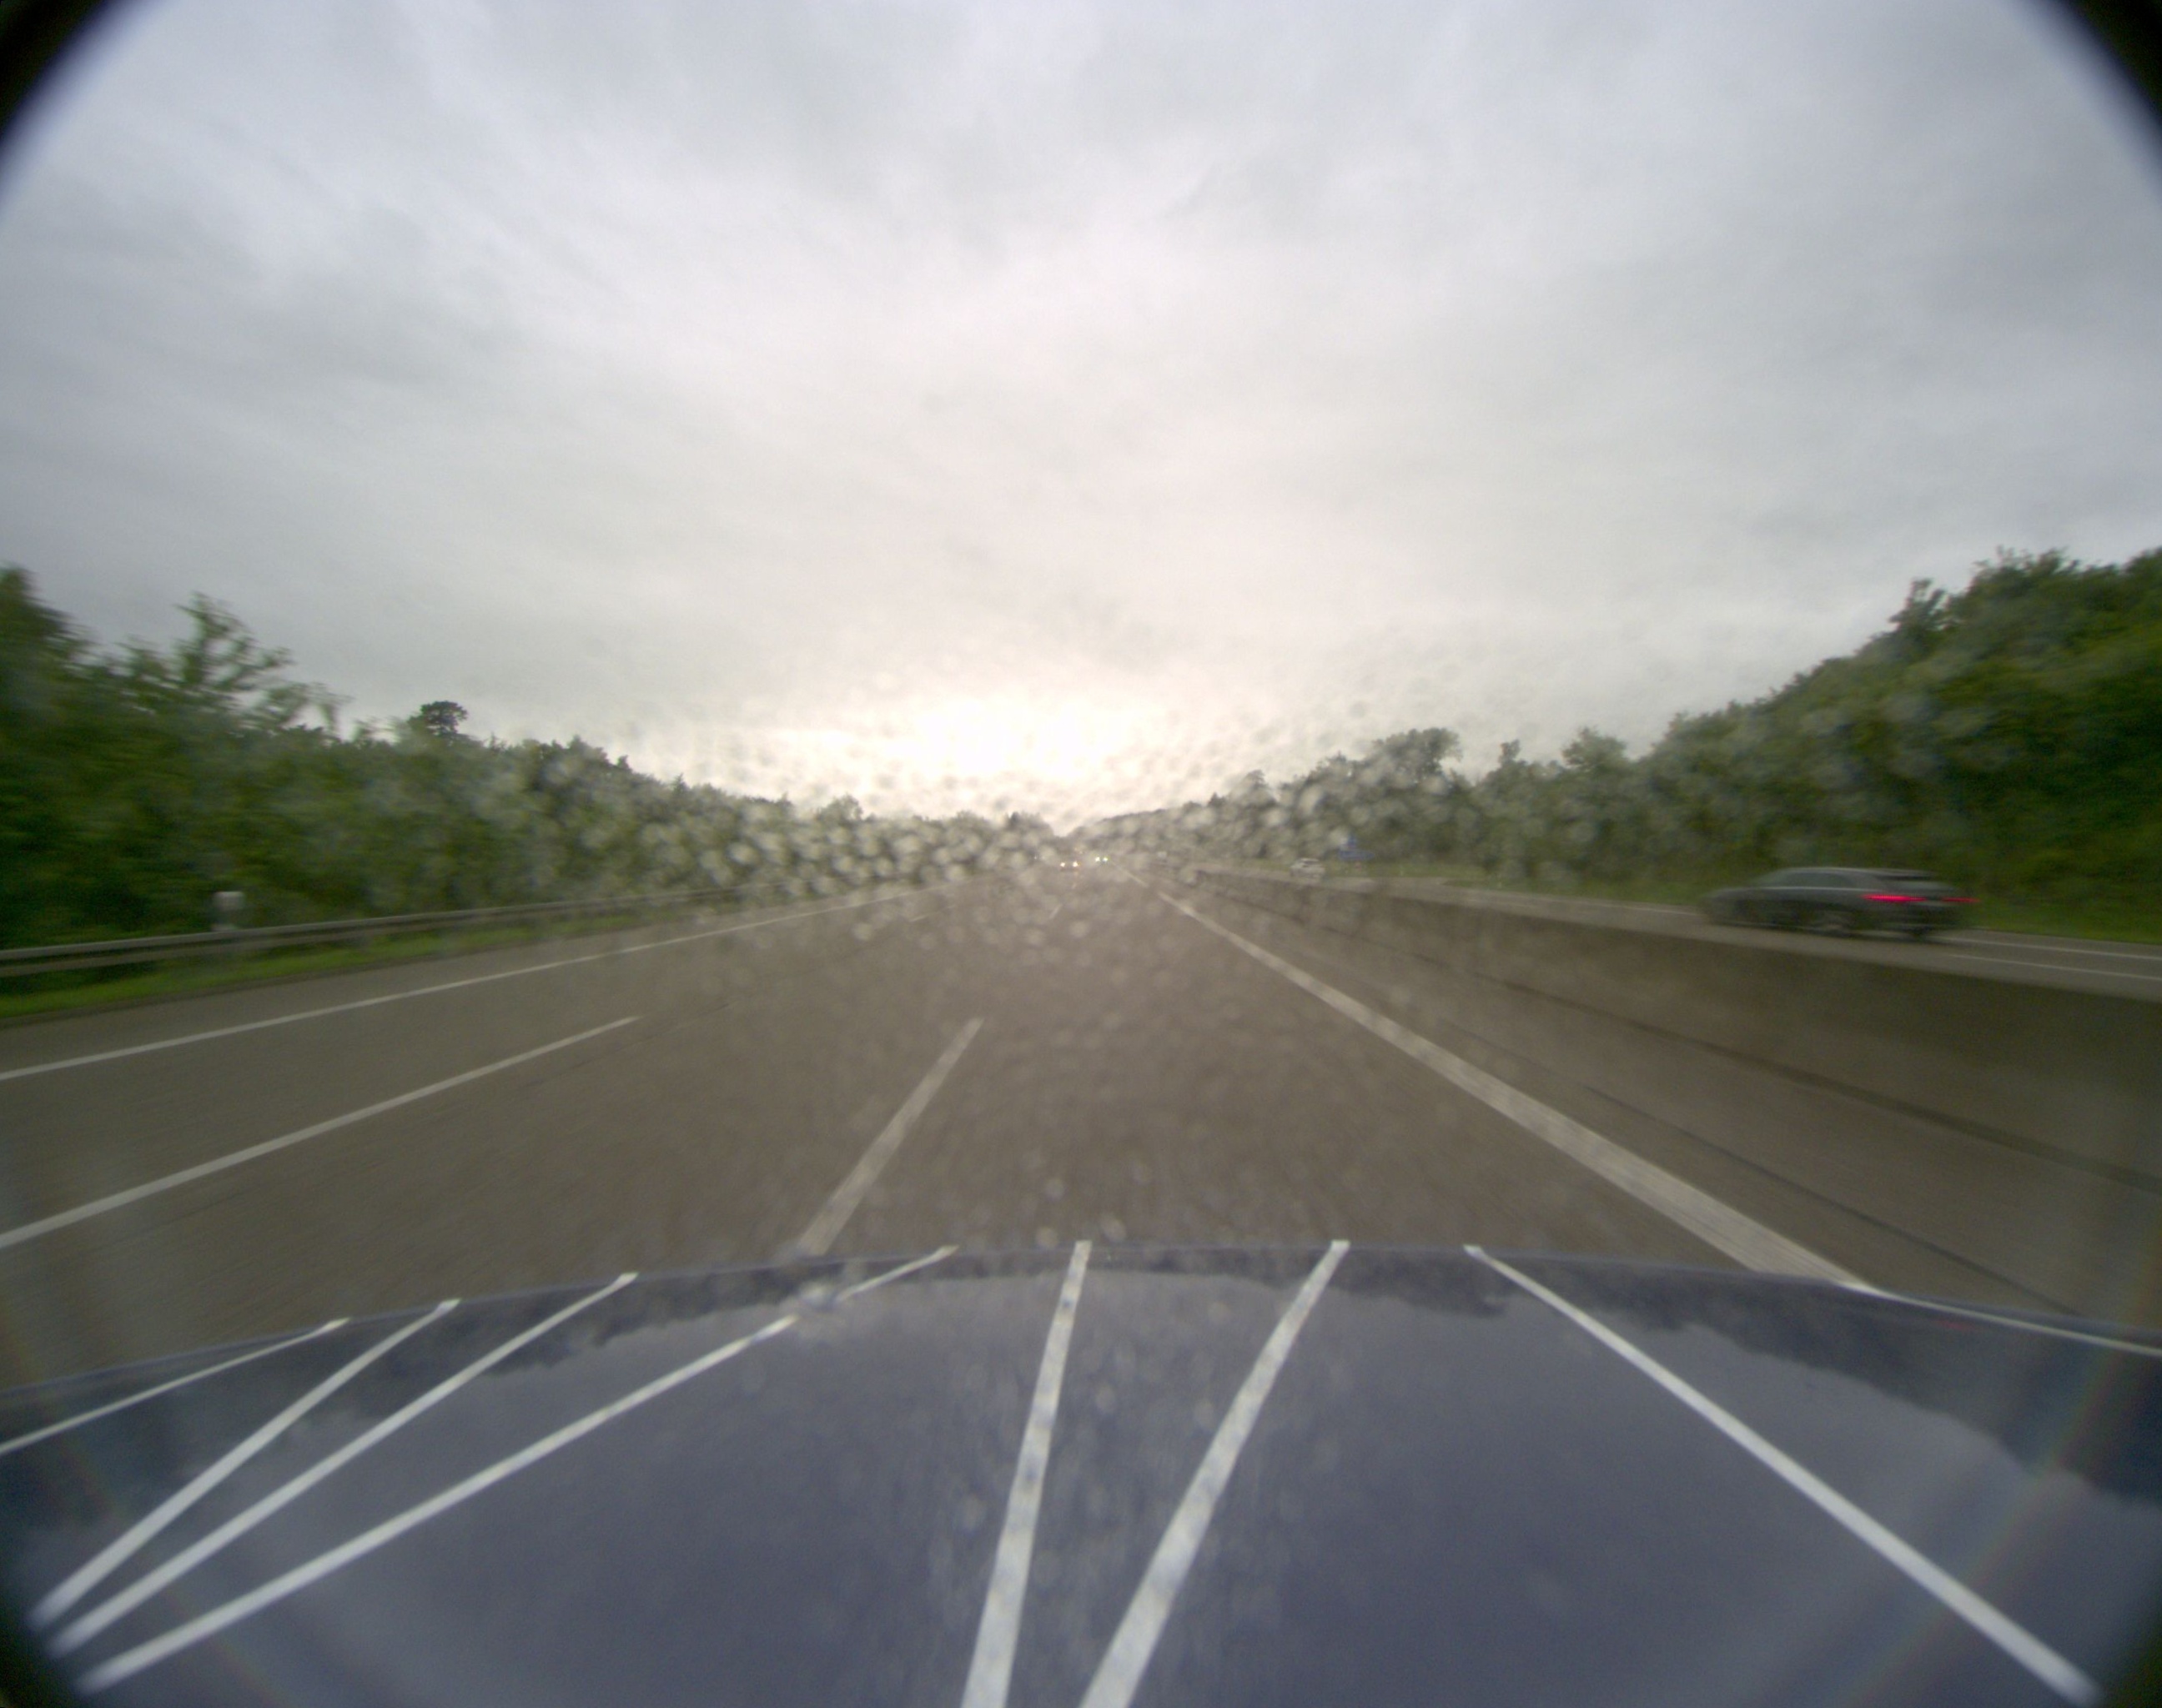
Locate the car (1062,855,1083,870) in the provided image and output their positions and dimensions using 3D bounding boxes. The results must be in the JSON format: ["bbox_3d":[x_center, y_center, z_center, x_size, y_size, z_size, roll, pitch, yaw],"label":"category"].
[{"bbox_3d":[-0.822,0.886,78.200,1.932,1.521,4.298,0,-1,2],"label":"car"}]

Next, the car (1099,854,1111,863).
[{"bbox_3d":[4.322,0.732,134.235,2.009,1.455,4.000,0,1,3],"label":"car"}]

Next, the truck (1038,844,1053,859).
[{"bbox_3d":[-9.916,-0.742,214.195,3.244,3.873,12.024,-1,1,1],"label":"truck"}]

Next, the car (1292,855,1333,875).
[{"bbox_3d":[17.976,0.829,59.298,1.802,1.442,4.629,1,0,0],"label":"car"}]

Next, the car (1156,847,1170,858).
[{"bbox_3d":[16.580,-0.231,153.231,1.999,2.002,5.760,-5,0,0],"label":"car"}]

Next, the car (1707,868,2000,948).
[{"bbox_3d":[16.238,1.053,16.401,1.803,1.377,4.468,0,0,1],"label":"car"}]
